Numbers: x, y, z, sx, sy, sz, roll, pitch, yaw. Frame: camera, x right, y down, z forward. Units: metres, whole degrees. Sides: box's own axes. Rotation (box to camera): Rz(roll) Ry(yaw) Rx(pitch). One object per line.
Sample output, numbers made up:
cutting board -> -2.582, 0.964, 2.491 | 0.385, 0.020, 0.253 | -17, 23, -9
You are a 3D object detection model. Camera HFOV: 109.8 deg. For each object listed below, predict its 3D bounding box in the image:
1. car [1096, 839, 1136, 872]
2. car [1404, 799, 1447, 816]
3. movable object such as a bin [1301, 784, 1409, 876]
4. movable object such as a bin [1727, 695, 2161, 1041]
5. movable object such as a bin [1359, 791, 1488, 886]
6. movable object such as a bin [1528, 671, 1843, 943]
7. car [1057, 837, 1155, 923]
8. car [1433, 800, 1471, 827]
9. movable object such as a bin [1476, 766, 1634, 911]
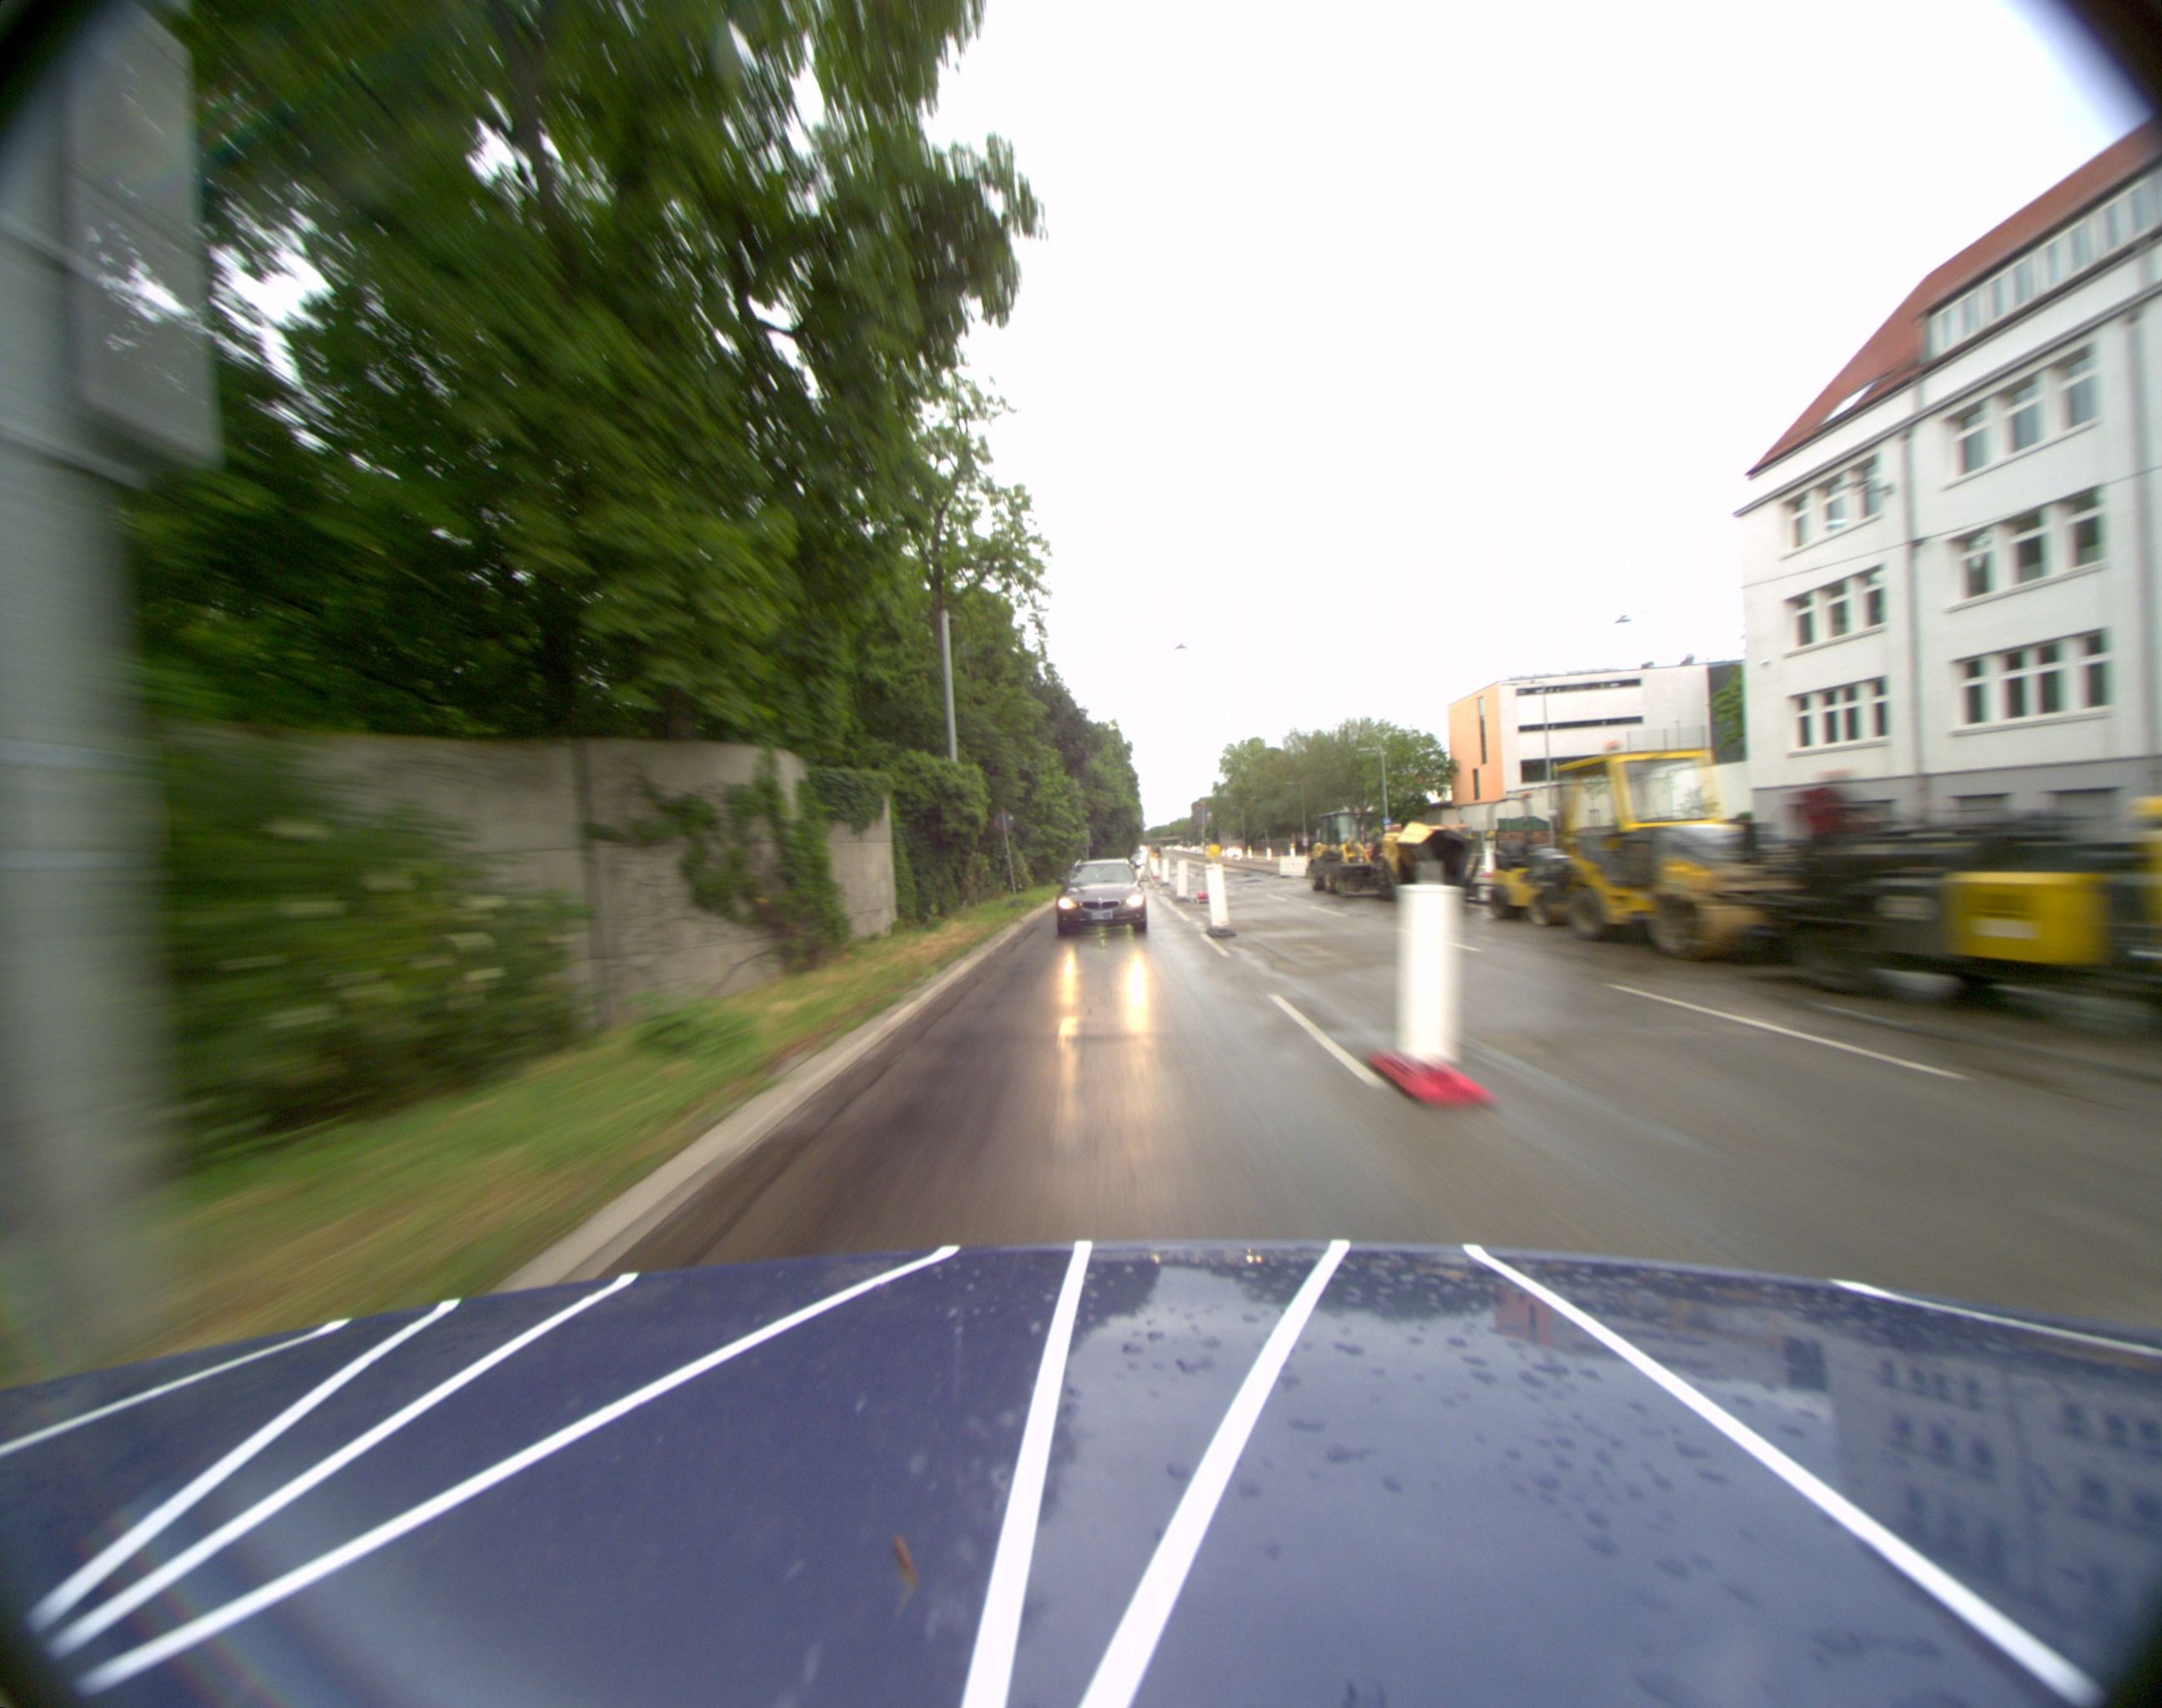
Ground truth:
car -> 1.861, 0.023, 39.441 | 1.742, 1.454, 4.459 | -4, 1, 5
car -> 40.159, -5.418, 88.562 | 4.012, 1.519, 2.003 | -3, 2, 43
movable object such as a bin -> 8.818, -0.736, 25.007 | 1.906, 2.594, 5.384 | -3, 1, 5
movable object such as a bin -> 7.577, 0.041, 6.246 | 1.719, 2.137, 3.349 | -2, 1, 2
movable object such as a bin -> 8.669, -0.393, 19.700 | 1.365, 2.078, 5.031 | -3, 1, 5
movable object such as a bin -> 7.855, -0.540, 10.366 | 1.469, 2.991, 3.724 | -2, 1, 4
car -> 0.675, 0.438, 16.461 | 1.742, 1.454, 4.459 | -4, 1, 5
car -> 33.732, -3.647, 69.207 | 1.613, 2.158, 4.000 | -4, 1, 4
movable object such as a bin -> 8.593, -0.273, 13.975 | 1.414, 2.387, 2.405 | -2, 1, 2
